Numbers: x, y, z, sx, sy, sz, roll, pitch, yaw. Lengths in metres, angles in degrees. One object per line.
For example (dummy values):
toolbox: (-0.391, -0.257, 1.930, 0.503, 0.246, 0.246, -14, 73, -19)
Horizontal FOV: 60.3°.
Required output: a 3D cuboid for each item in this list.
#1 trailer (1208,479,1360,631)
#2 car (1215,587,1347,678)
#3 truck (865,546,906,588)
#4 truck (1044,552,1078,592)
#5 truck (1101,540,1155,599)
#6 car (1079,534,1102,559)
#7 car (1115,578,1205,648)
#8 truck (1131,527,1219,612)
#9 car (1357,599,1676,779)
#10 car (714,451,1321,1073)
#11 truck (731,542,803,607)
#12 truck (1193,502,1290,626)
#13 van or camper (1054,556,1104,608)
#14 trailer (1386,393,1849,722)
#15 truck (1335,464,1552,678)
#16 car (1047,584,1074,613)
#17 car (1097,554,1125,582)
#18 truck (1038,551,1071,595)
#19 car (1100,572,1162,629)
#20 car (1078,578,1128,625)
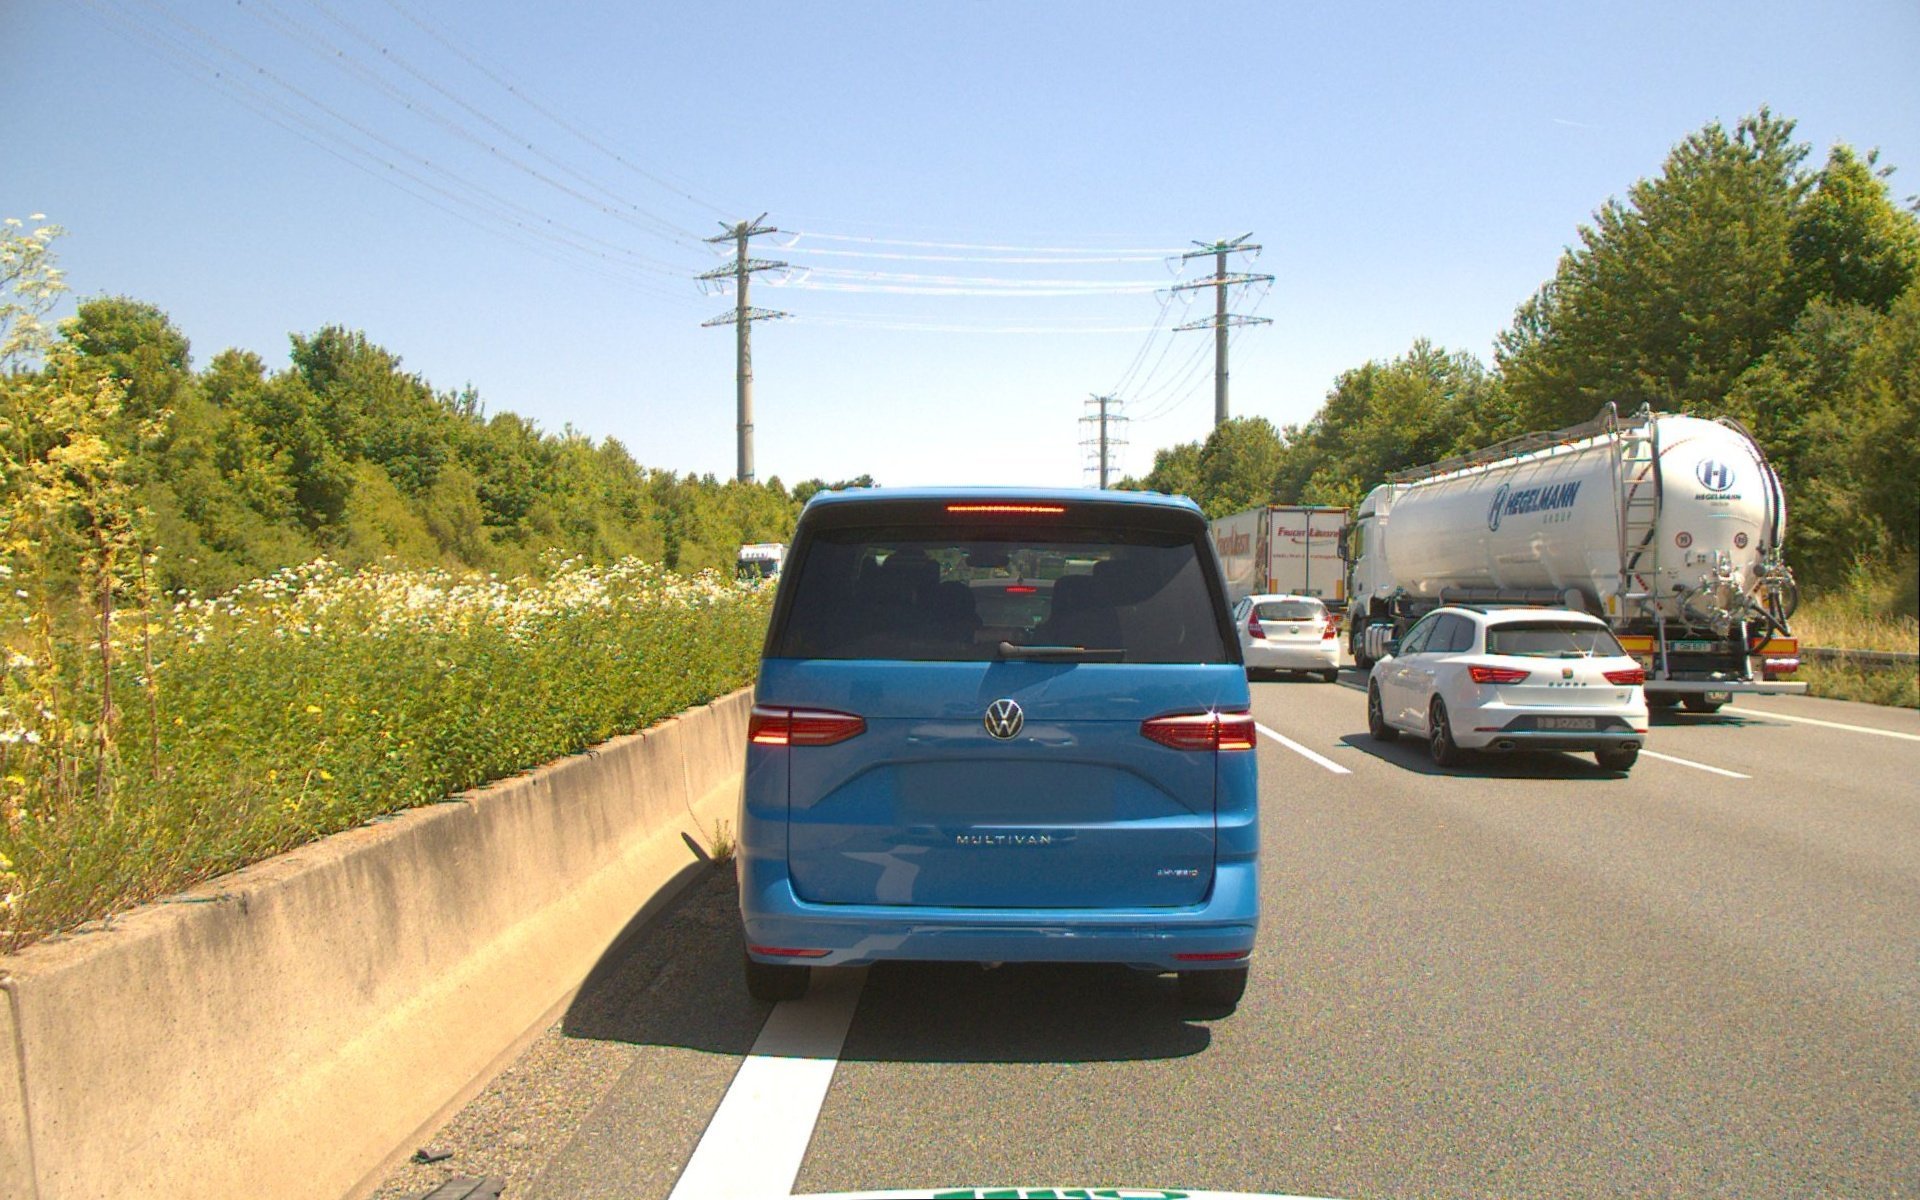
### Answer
trailer: (10.674, -1.371, 55.962, 2.852, 4.547, 12.155, -1, 0, 1)
car: (5.758, 0.577, 30.094, 1.779, 1.511, 4.001, -1, -1, 2)
truck: (-7.139, -3.151, 160.402, 3.107, 3.886, 11.946, 1, 0, 1)
truck: (11.934, -3.249, 196.576, 3.493, 4.596, 10.294, 0, 0, 1)
truck: (11.553, -1.991, 114.556, 2.835, 3.832, 13.348, 0, 0, 2)
car: (11.919, -4.872, 151.224, 1.952, 2.049, 4.001, 0, 0, 1)
car: (5.231, 0.351, 43.798, 1.958, 1.745, 4.626, -1, -1, 2)
truck: (10.639, -1.373, 83.395, 2.943, 3.832, 15.716, 0, 0, 2)
car: (5.130, 0.762, 15.867, 1.711, 1.468, 4.314, -1, -1, 2)
car: (0.225, 0.491, 7.181, 1.880, 1.919, 4.001, 1, 0, 1)
truck: (-12.163, -1.574, 105.341, 2.851, 3.886, 11.946, 1, 0, 1)
truck: (10.755, -1.334, 63.525, 2.852, 4.547, 5.143, -1, 0, 1)
van or camper: (7.334, -1.075, 102.475, 2.895, 3.075, 7.105, 0, 0, 3)
trailer: (9.404, -0.522, 25.671, 2.704, 3.912, 11.487, -1, 0, 1)
truck: (9.524, -0.540, 33.210, 2.735, 3.903, 5.572, -1, 0, 1)
car: (7.197, -0.089, 118.826, 1.798, 2.033, 4.001, -1, -1, 3)
car: (11.814, -2.504, 129.708, 1.952, 2.049, 4.001, 0, 0, 1)
truck: (8.654, -2.408, 152.039, 2.835, 3.832, 10.142, 0, 0, 2)
car: (6.212, 0.038, 60.424, 1.884, 1.959, 4.236, -2, -1, 1)
car: (6.298, 0.083, 73.436, 1.884, 1.959, 4.236, -2, -1, 1)
